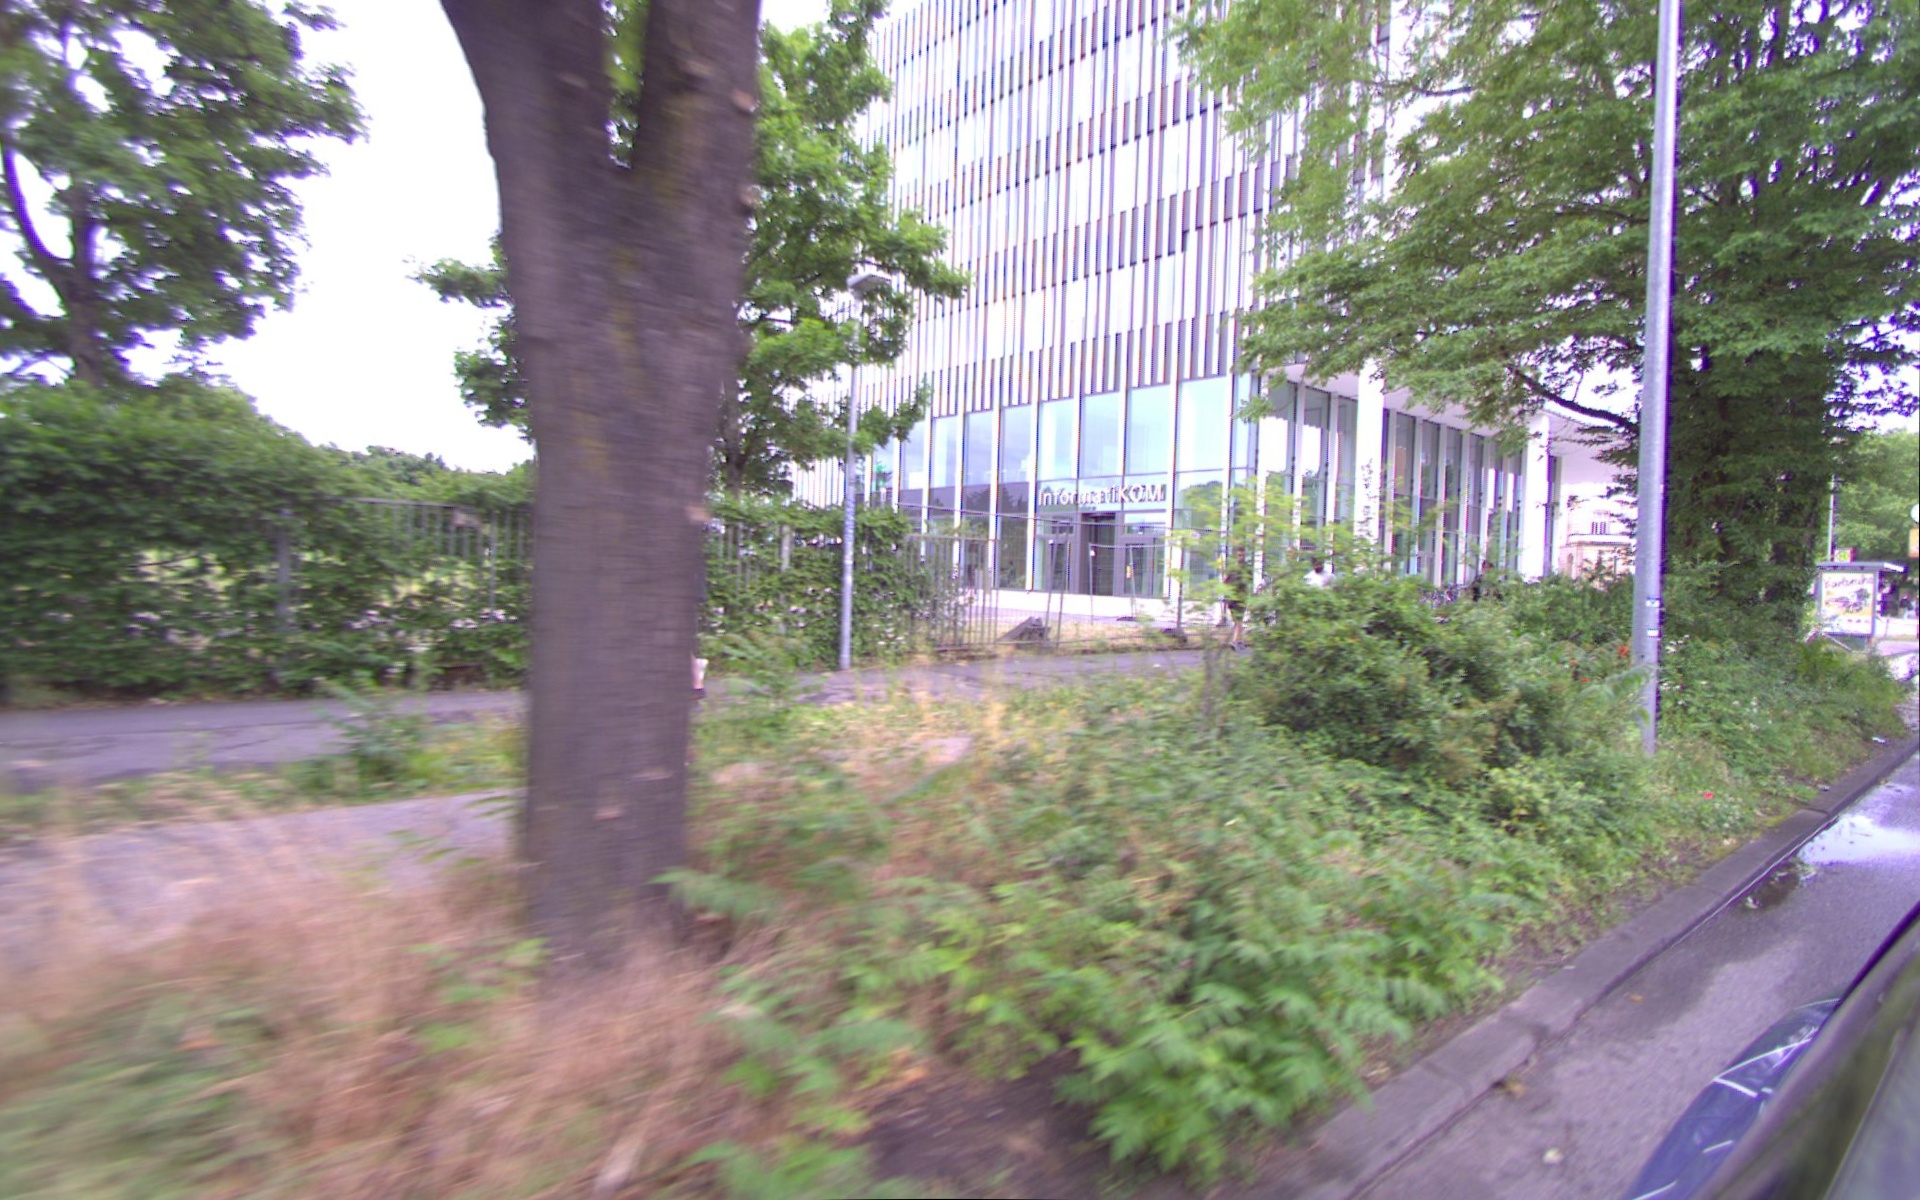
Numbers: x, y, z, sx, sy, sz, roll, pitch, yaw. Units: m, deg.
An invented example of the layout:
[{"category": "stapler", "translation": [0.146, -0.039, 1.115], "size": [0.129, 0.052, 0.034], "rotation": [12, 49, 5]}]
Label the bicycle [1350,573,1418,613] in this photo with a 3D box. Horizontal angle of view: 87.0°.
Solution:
[{"category": "bicycle", "translation": [13.226, -0.224, 31.619], "size": [0.615, 1.095, 1.798], "rotation": [1, 4, -42]}]

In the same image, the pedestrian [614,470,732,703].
[{"category": "pedestrian", "translation": [-2.668, -0.144, 9.396], "size": [0.708, 2.038, 0.825], "rotation": [1, 3, -41]}]

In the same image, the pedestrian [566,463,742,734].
[{"category": "pedestrian", "translation": [-2.514, -0.031, 8.314], "size": [0.926, 2.038, 1.023], "rotation": [4, 2, 45]}]

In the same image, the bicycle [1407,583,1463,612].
[{"category": "bicycle", "translation": [16.353, -0.081, 34.859], "size": [0.546, 0.885, 1.610], "rotation": [1, 3, -40]}]

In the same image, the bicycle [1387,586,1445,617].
[{"category": "bicycle", "translation": [14.781, 0.037, 32.812], "size": [0.546, 0.885, 1.610], "rotation": [1, 3, -40]}]

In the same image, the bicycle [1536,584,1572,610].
[{"category": "bicycle", "translation": [25.678, -0.125, 43.762], "size": [0.426, 1.062, 1.203], "rotation": [1, 3, -34]}]

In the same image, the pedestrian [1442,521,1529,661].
[{"category": "pedestrian", "translation": [7.937, -0.145, 15.296], "size": [0.879, 2.038, 0.844], "rotation": [1, 2, -42]}]

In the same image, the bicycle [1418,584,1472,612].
[{"category": "bicycle", "translation": [17.116, -0.091, 35.768], "size": [0.546, 0.885, 1.610], "rotation": [1, 3, -40]}]

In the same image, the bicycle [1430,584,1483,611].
[{"category": "bicycle", "translation": [17.837, -0.099, 36.372], "size": [0.507, 0.895, 1.607], "rotation": [1, 2, -40]}]

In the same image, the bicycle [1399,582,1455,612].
[{"category": "bicycle", "translation": [15.709, -0.113, 34.074], "size": [0.546, 0.885, 1.610], "rotation": [1, 3, -40]}]

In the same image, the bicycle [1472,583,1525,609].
[{"category": "bicycle", "translation": [19.927, -0.157, 37.446], "size": [0.546, 0.885, 1.610], "rotation": [1, 3, -40]}]

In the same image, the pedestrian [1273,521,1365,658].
[{"category": "pedestrian", "translation": [5.600, -0.174, 15.780], "size": [0.926, 2.038, 1.023], "rotation": [4, 2, 45]}]

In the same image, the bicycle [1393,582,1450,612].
[{"category": "bicycle", "translation": [15.327, -0.102, 33.631], "size": [0.546, 0.885, 1.610], "rotation": [1, 3, -40]}]

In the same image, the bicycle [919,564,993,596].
[{"category": "bicycle", "translation": [-0.134, -0.764, 39.103], "size": [2.739, 1.143, 1.033], "rotation": [1, 2, -37]}]

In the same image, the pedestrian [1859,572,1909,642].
[{"category": "pedestrian", "translation": [28.159, 0.215, 30.855], "size": [0.839, 2.038, 0.914], "rotation": [3, 2, -42]}]

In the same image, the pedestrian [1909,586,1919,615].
[{"category": "pedestrian", "translation": [68.815, 0.040, 72.624], "size": [0.878, 2.038, 0.845], "rotation": [1, 2, -39]}]

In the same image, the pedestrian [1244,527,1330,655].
[{"category": "pedestrian", "translation": [5.431, -0.166, 16.826], "size": [0.926, 2.038, 1.023], "rotation": [4, 2, 45]}]

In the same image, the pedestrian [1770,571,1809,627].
[{"category": "pedestrian", "translation": [31.159, -0.044, 38.036], "size": [0.878, 2.038, 0.845], "rotation": [1, 4, -39]}]

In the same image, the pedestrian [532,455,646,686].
[{"category": "pedestrian", "translation": [-3.484, -0.278, 9.489], "size": [0.708, 2.038, 0.825], "rotation": [1, 2, -41]}]

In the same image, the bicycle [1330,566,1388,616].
[{"category": "bicycle", "translation": [11.963, -0.284, 30.409], "size": [0.453, 1.349, 1.656], "rotation": [1, 4, -27]}]
